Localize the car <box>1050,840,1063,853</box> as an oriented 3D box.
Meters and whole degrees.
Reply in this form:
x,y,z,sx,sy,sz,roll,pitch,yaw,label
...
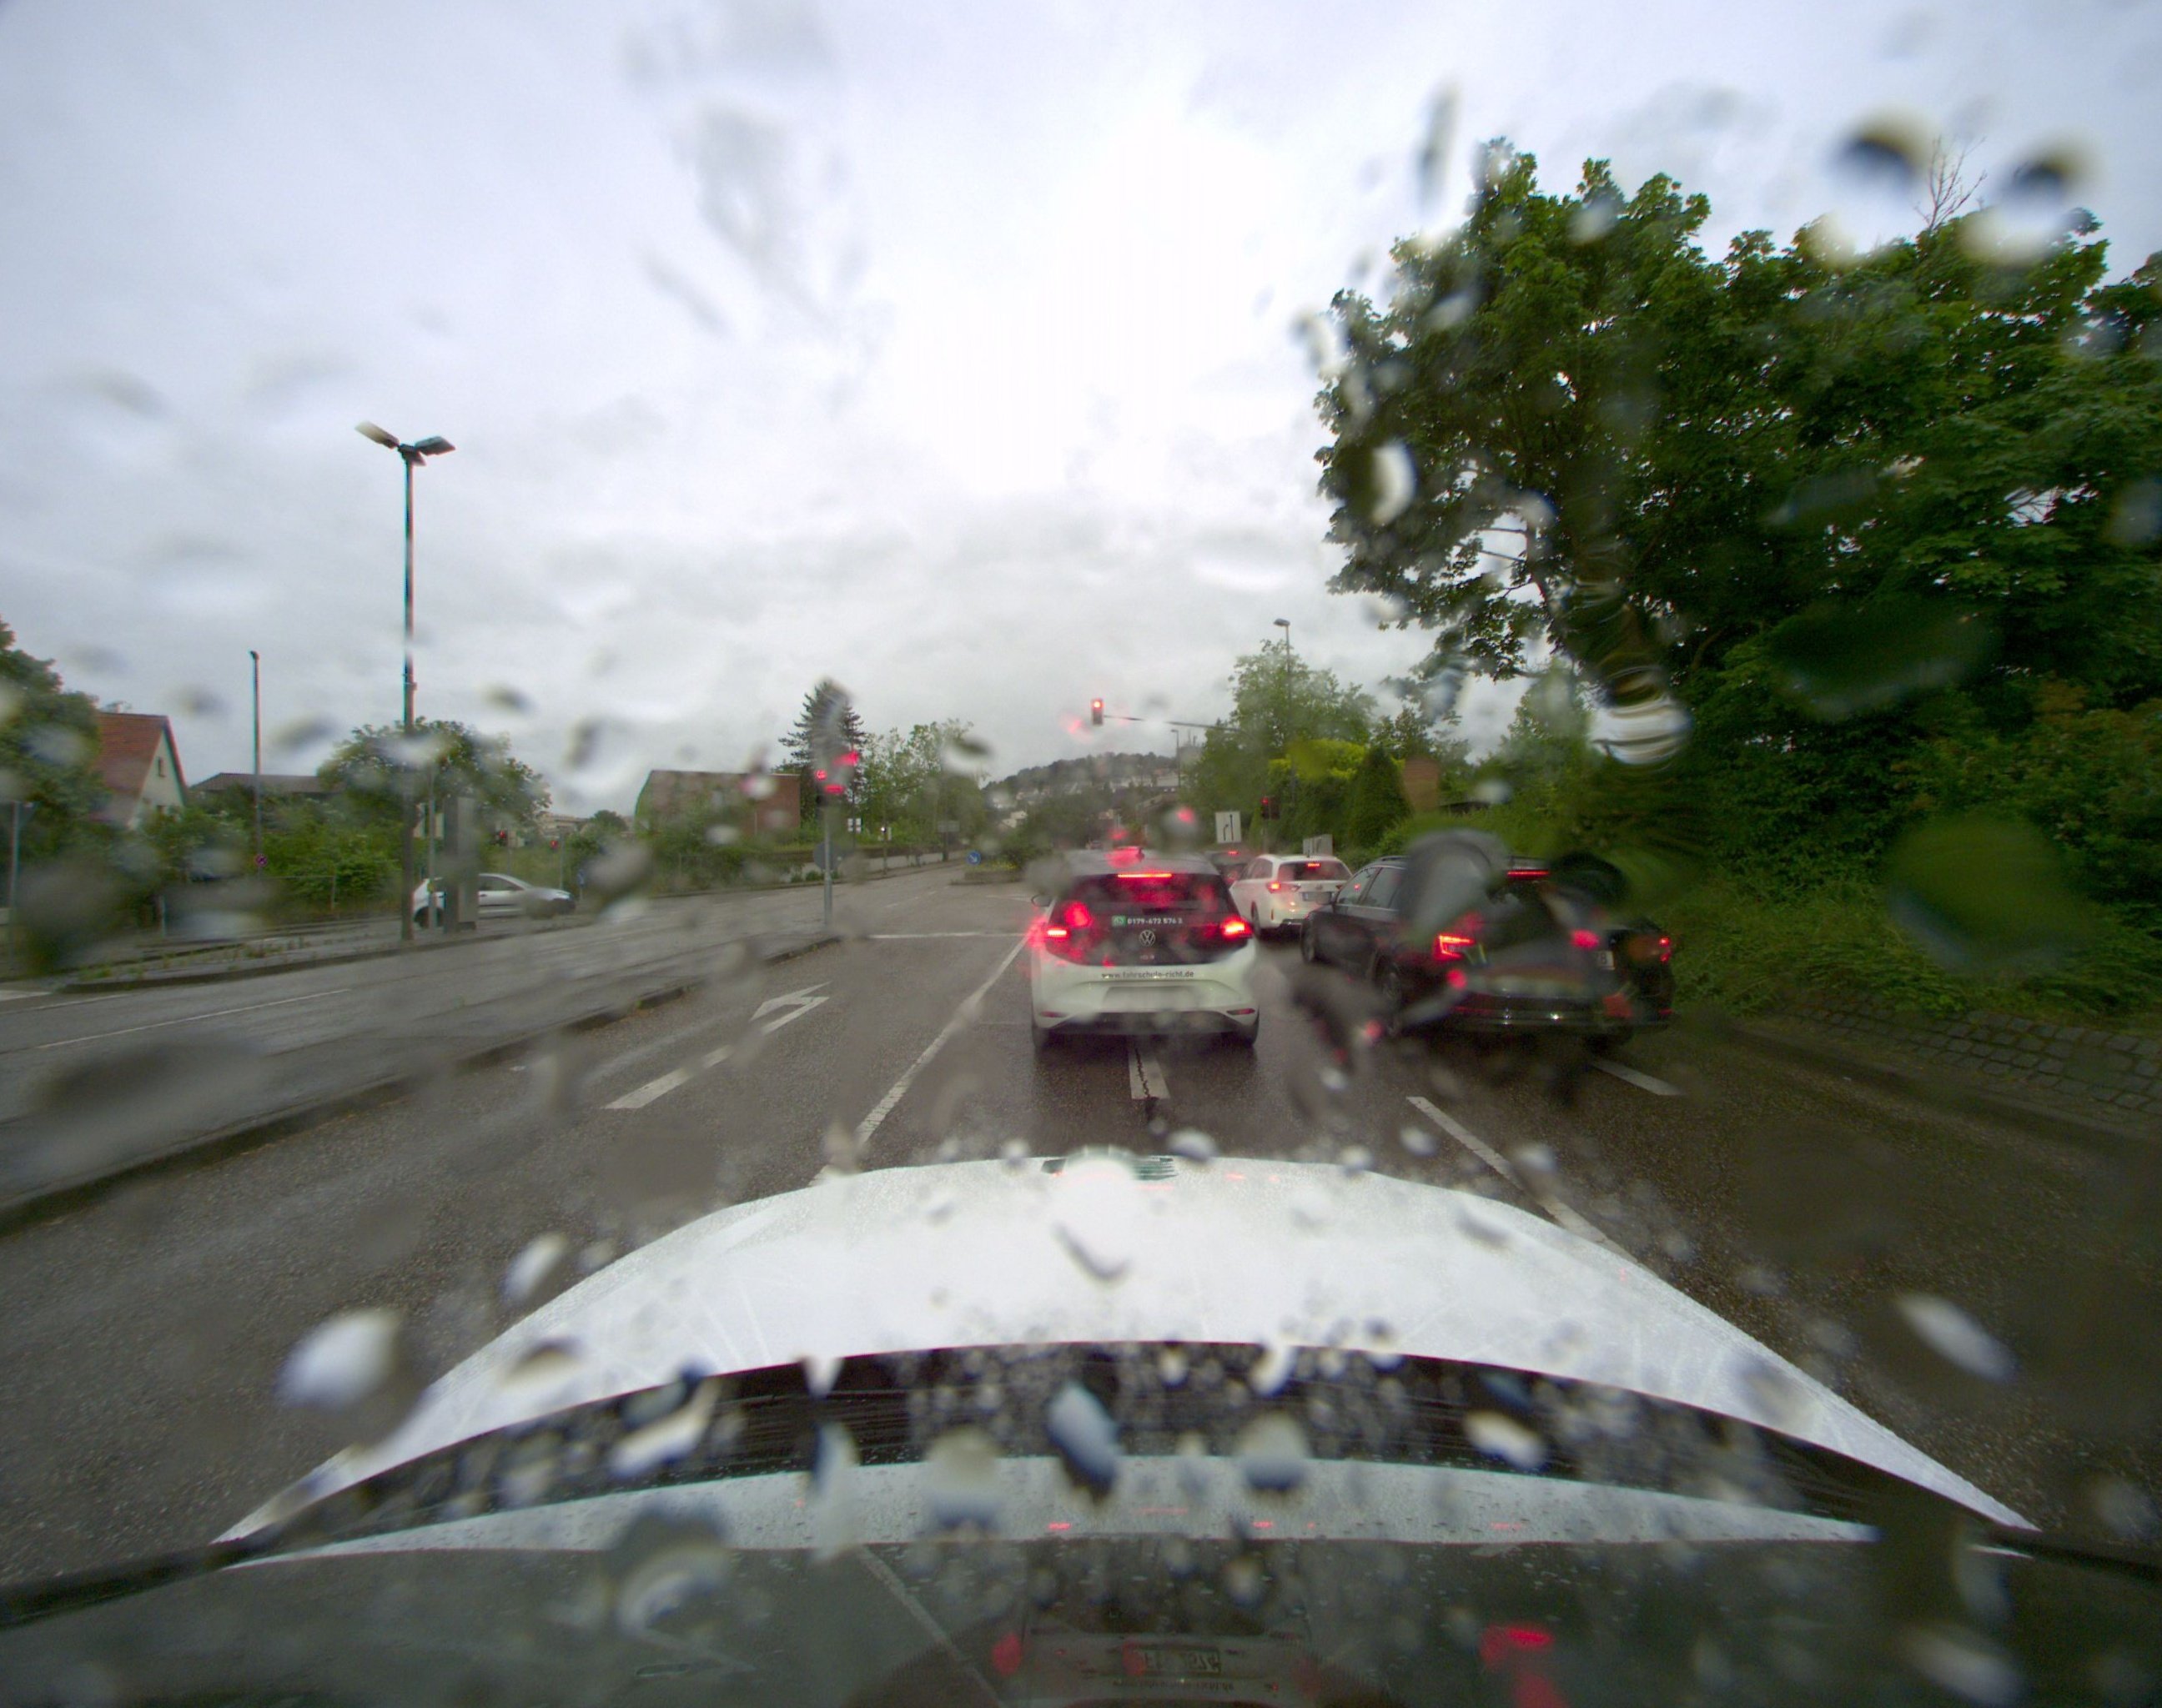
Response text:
x,y,z,sx,sy,sz,roll,pitch,yaw,label
-4.150,-1.258,140.774,1.986,2.014,4.002,-1,-1,2,car

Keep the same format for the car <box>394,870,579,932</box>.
x,y,z,sx,sy,sz,roll,pitch,yaw,label
-16.708,1.284,23.134,4.011,1.467,1.571,-2,-1,-29,car

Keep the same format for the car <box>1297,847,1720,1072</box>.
x,y,z,sx,sy,sz,roll,pitch,yaw,label
3.363,0.671,7.502,1.830,1.466,4.353,0,0,3,car

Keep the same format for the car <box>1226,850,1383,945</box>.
x,y,z,sx,sy,sz,roll,pitch,yaw,label
3.866,0.672,14.817,1.831,1.466,4.118,0,0,1,car

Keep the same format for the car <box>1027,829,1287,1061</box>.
x,y,z,sx,sy,sz,roll,pitch,yaw,label
0.589,0.624,8.040,1.831,1.629,4.617,0,0,1,car

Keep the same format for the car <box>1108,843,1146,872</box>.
x,y,z,sx,sy,sz,roll,pitch,yaw,label
2.451,0.148,43.931,1.755,1.418,3.748,-3,0,0,car

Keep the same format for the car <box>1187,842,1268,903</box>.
x,y,z,sx,sy,sz,roll,pitch,yaw,label
4.112,0.495,23.439,1.769,1.581,4.002,0,0,2,car

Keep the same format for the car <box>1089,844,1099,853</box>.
x,y,z,sx,sy,sz,roll,pitch,yaw,label
2.461,-1.003,150.373,1.769,1.581,4.002,-3,0,2,car

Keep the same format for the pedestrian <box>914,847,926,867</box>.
x,y,z,sx,sy,sz,roll,pitch,yaw,label
-12.990,0.223,65.717,0.757,1.568,0.825,-4,0,1,pedestrian

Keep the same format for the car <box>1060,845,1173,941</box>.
x,y,z,sx,sy,sz,roll,pitch,yaw,label
0.621,0.616,15.293,1.831,1.555,4.176,0,0,1,car

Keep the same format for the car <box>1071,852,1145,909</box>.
x,y,z,sx,sy,sz,roll,pitch,yaw,label
0.707,0.640,22.018,1.831,1.400,3.832,0,0,1,car
